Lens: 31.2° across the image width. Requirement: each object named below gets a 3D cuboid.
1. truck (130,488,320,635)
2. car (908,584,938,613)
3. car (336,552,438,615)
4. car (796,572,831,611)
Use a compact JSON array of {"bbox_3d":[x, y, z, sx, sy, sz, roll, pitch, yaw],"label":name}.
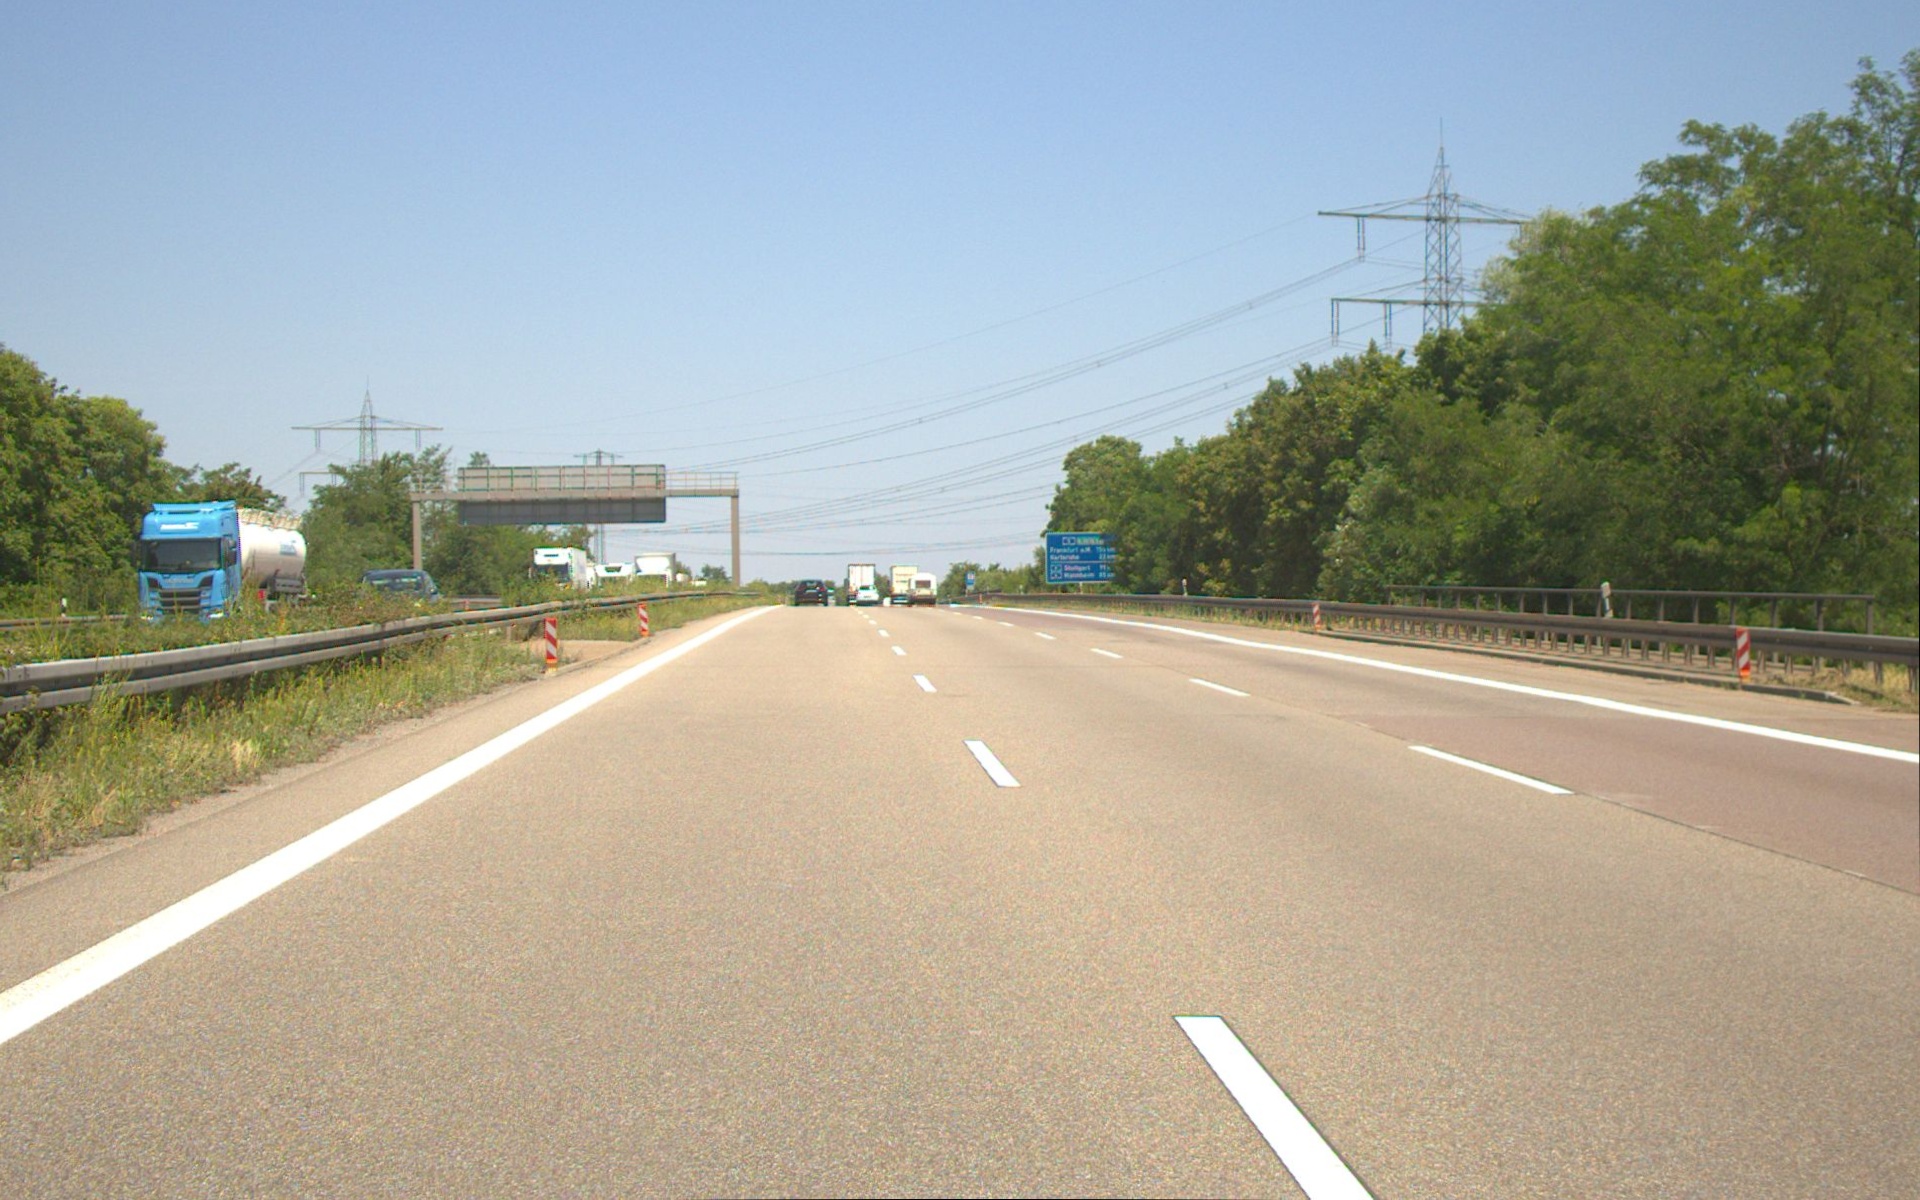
[{"bbox_3d":[-21.882,-1.098,103.368,2.728,4.039,15.937,-1,0,-2],"label":"truck"},{"bbox_3d":[-2.627,-0.094,244.176,1.993,2.007,4.000,-1,0,-2],"label":"car"},{"bbox_3d":[-18.139,-0.547,109.118,2.412,1.911,5.783,-1,1,-2],"label":"car"},{"bbox_3d":[-7.789,-0.475,183.288,1.791,2.007,3.888,1,0,-2],"label":"car"}]
